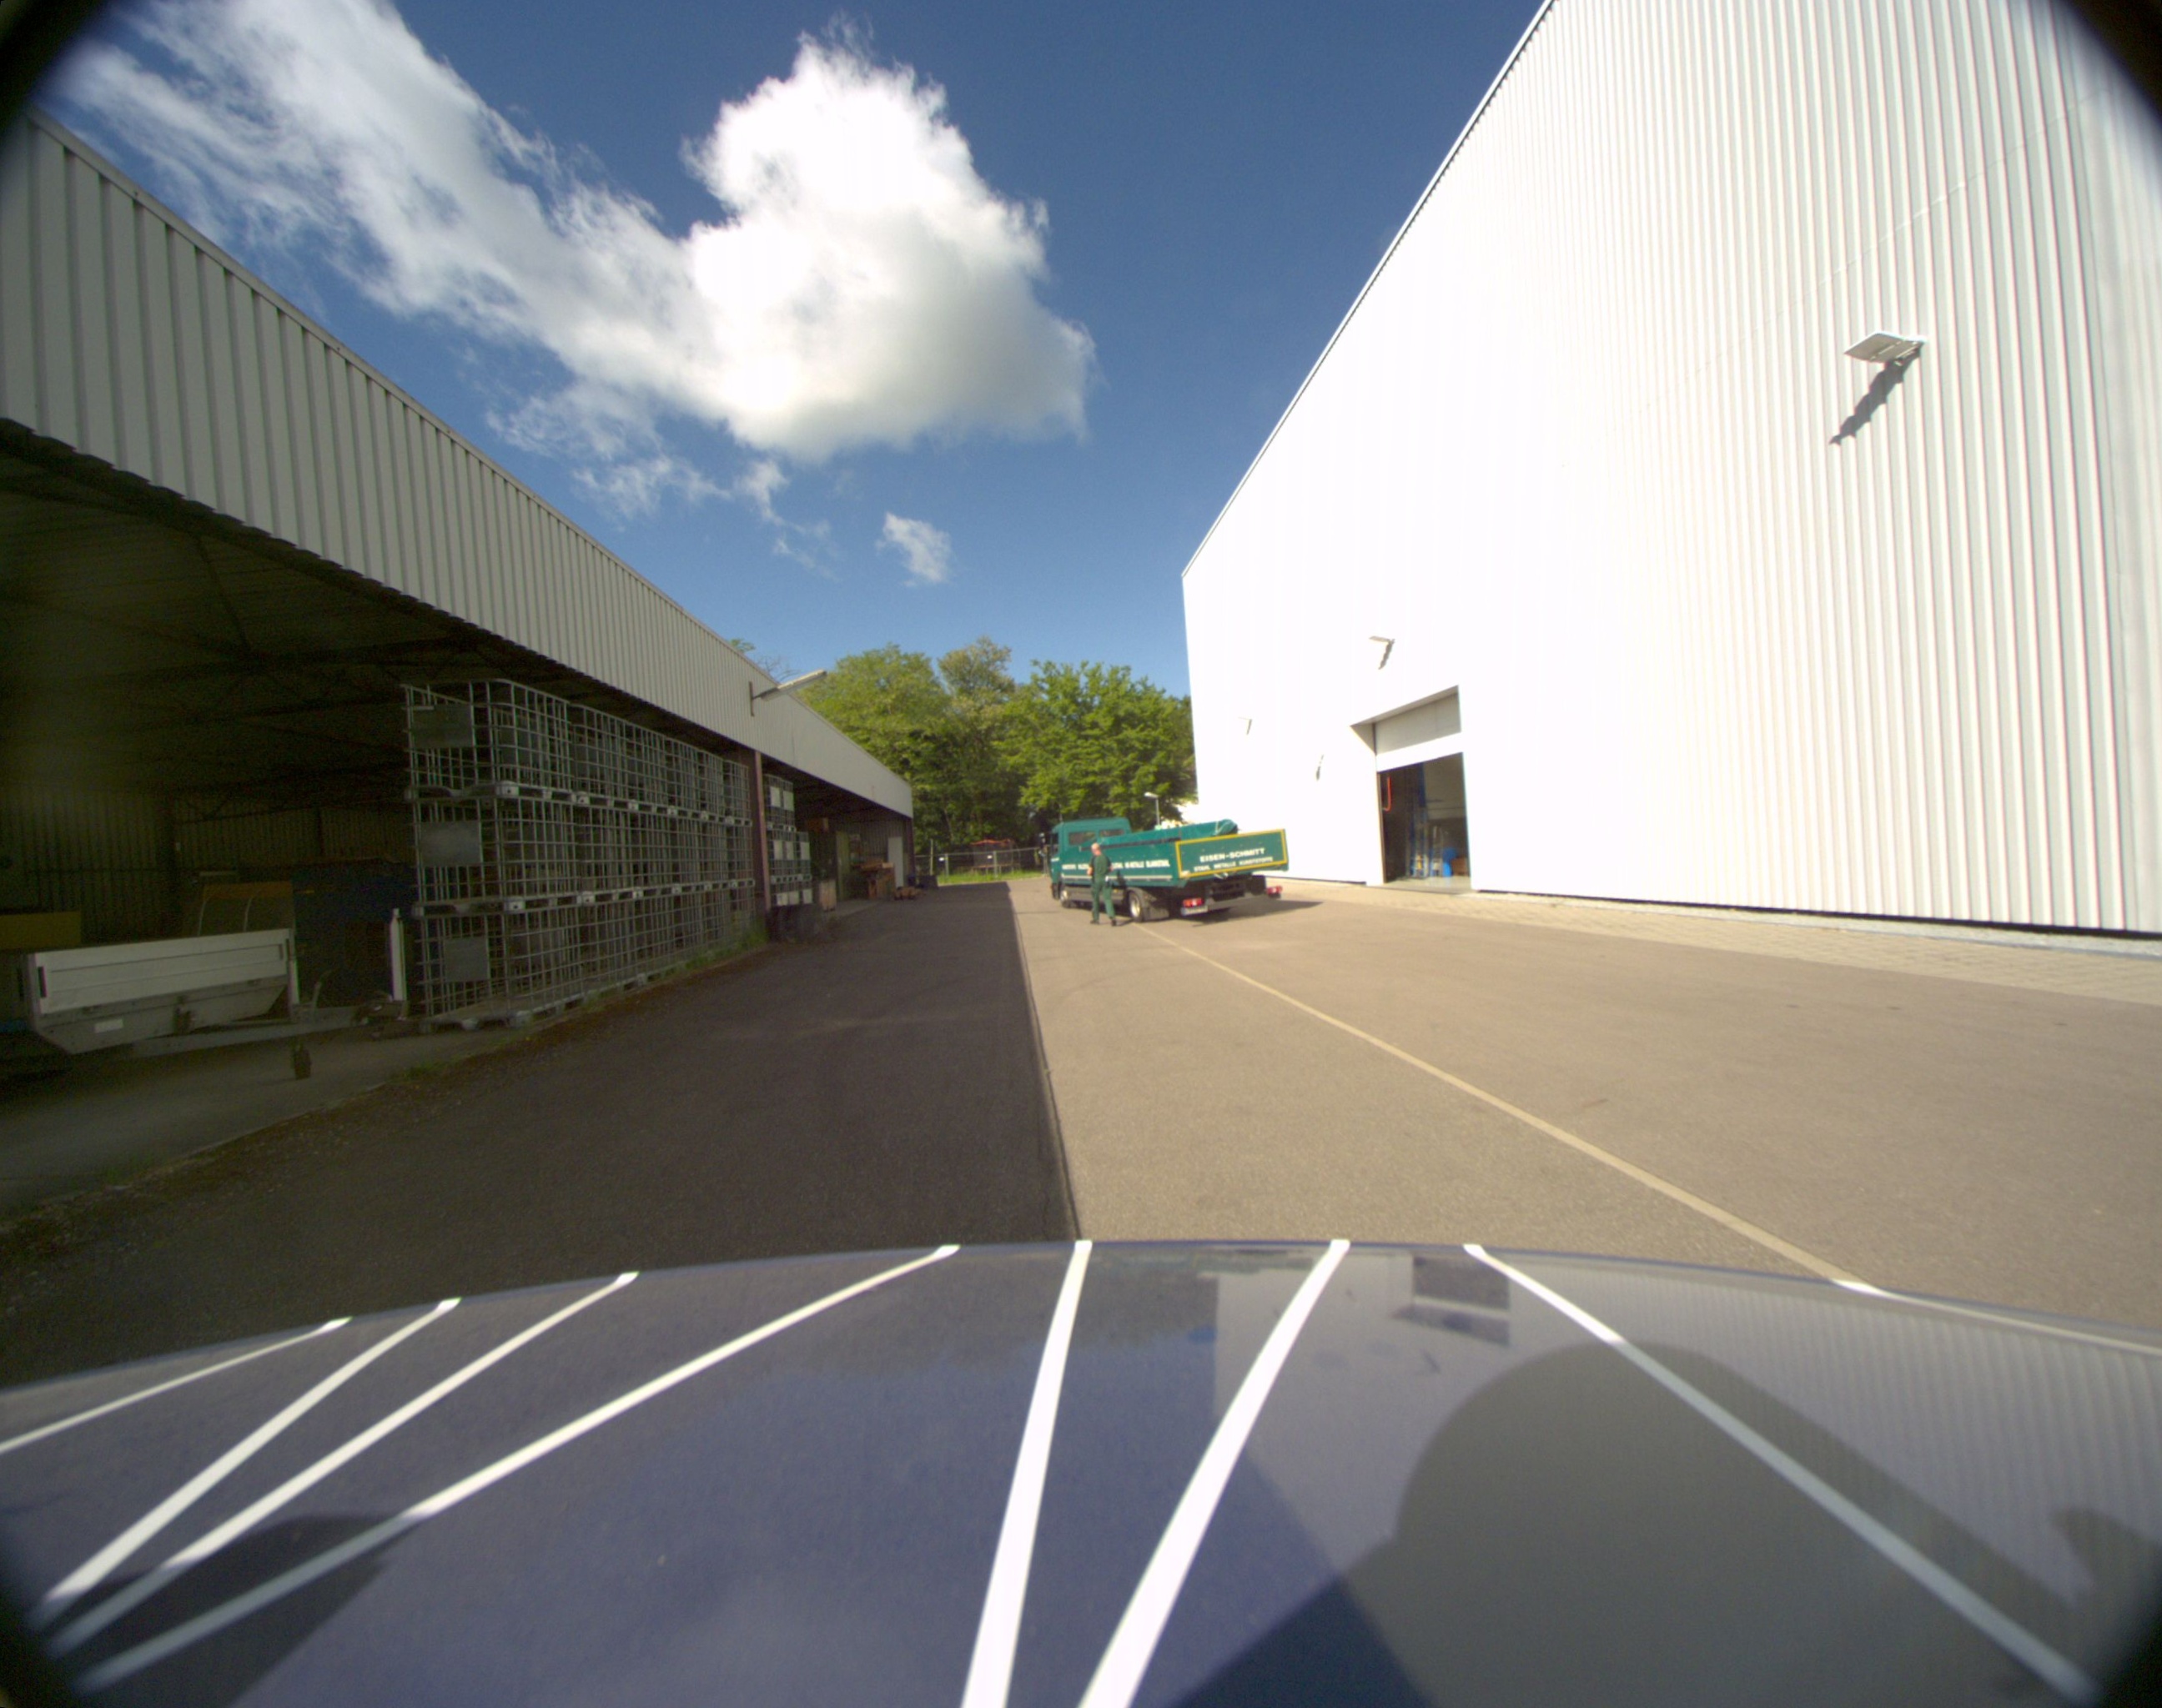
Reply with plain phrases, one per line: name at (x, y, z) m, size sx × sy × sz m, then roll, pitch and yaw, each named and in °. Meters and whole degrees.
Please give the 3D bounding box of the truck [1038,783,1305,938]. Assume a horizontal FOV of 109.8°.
truck at (1.549, 0.186, 19.157) m, size 2.590 × 2.701 × 9.681 m, roll -7°, pitch 1°, yaw -18°

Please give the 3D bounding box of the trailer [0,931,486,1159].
trailer at (-8.235, 1.434, 5.625) m, size 5.752 × 1.126 × 2.007 m, roll -3°, pitch 0°, yaw -7°

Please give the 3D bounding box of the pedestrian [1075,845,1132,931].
pedestrian at (0.473, 0.725, 16.610) m, size 0.895 × 1.792 × 1.038 m, roll -2°, pitch 1°, yaw -18°

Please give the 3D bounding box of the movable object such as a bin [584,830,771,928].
movable object such as a bin at (-12.375, 0.740, 23.610) m, size 4.629 × 2.706 × 1.999 m, roll -2°, pitch -1°, yaw -8°
